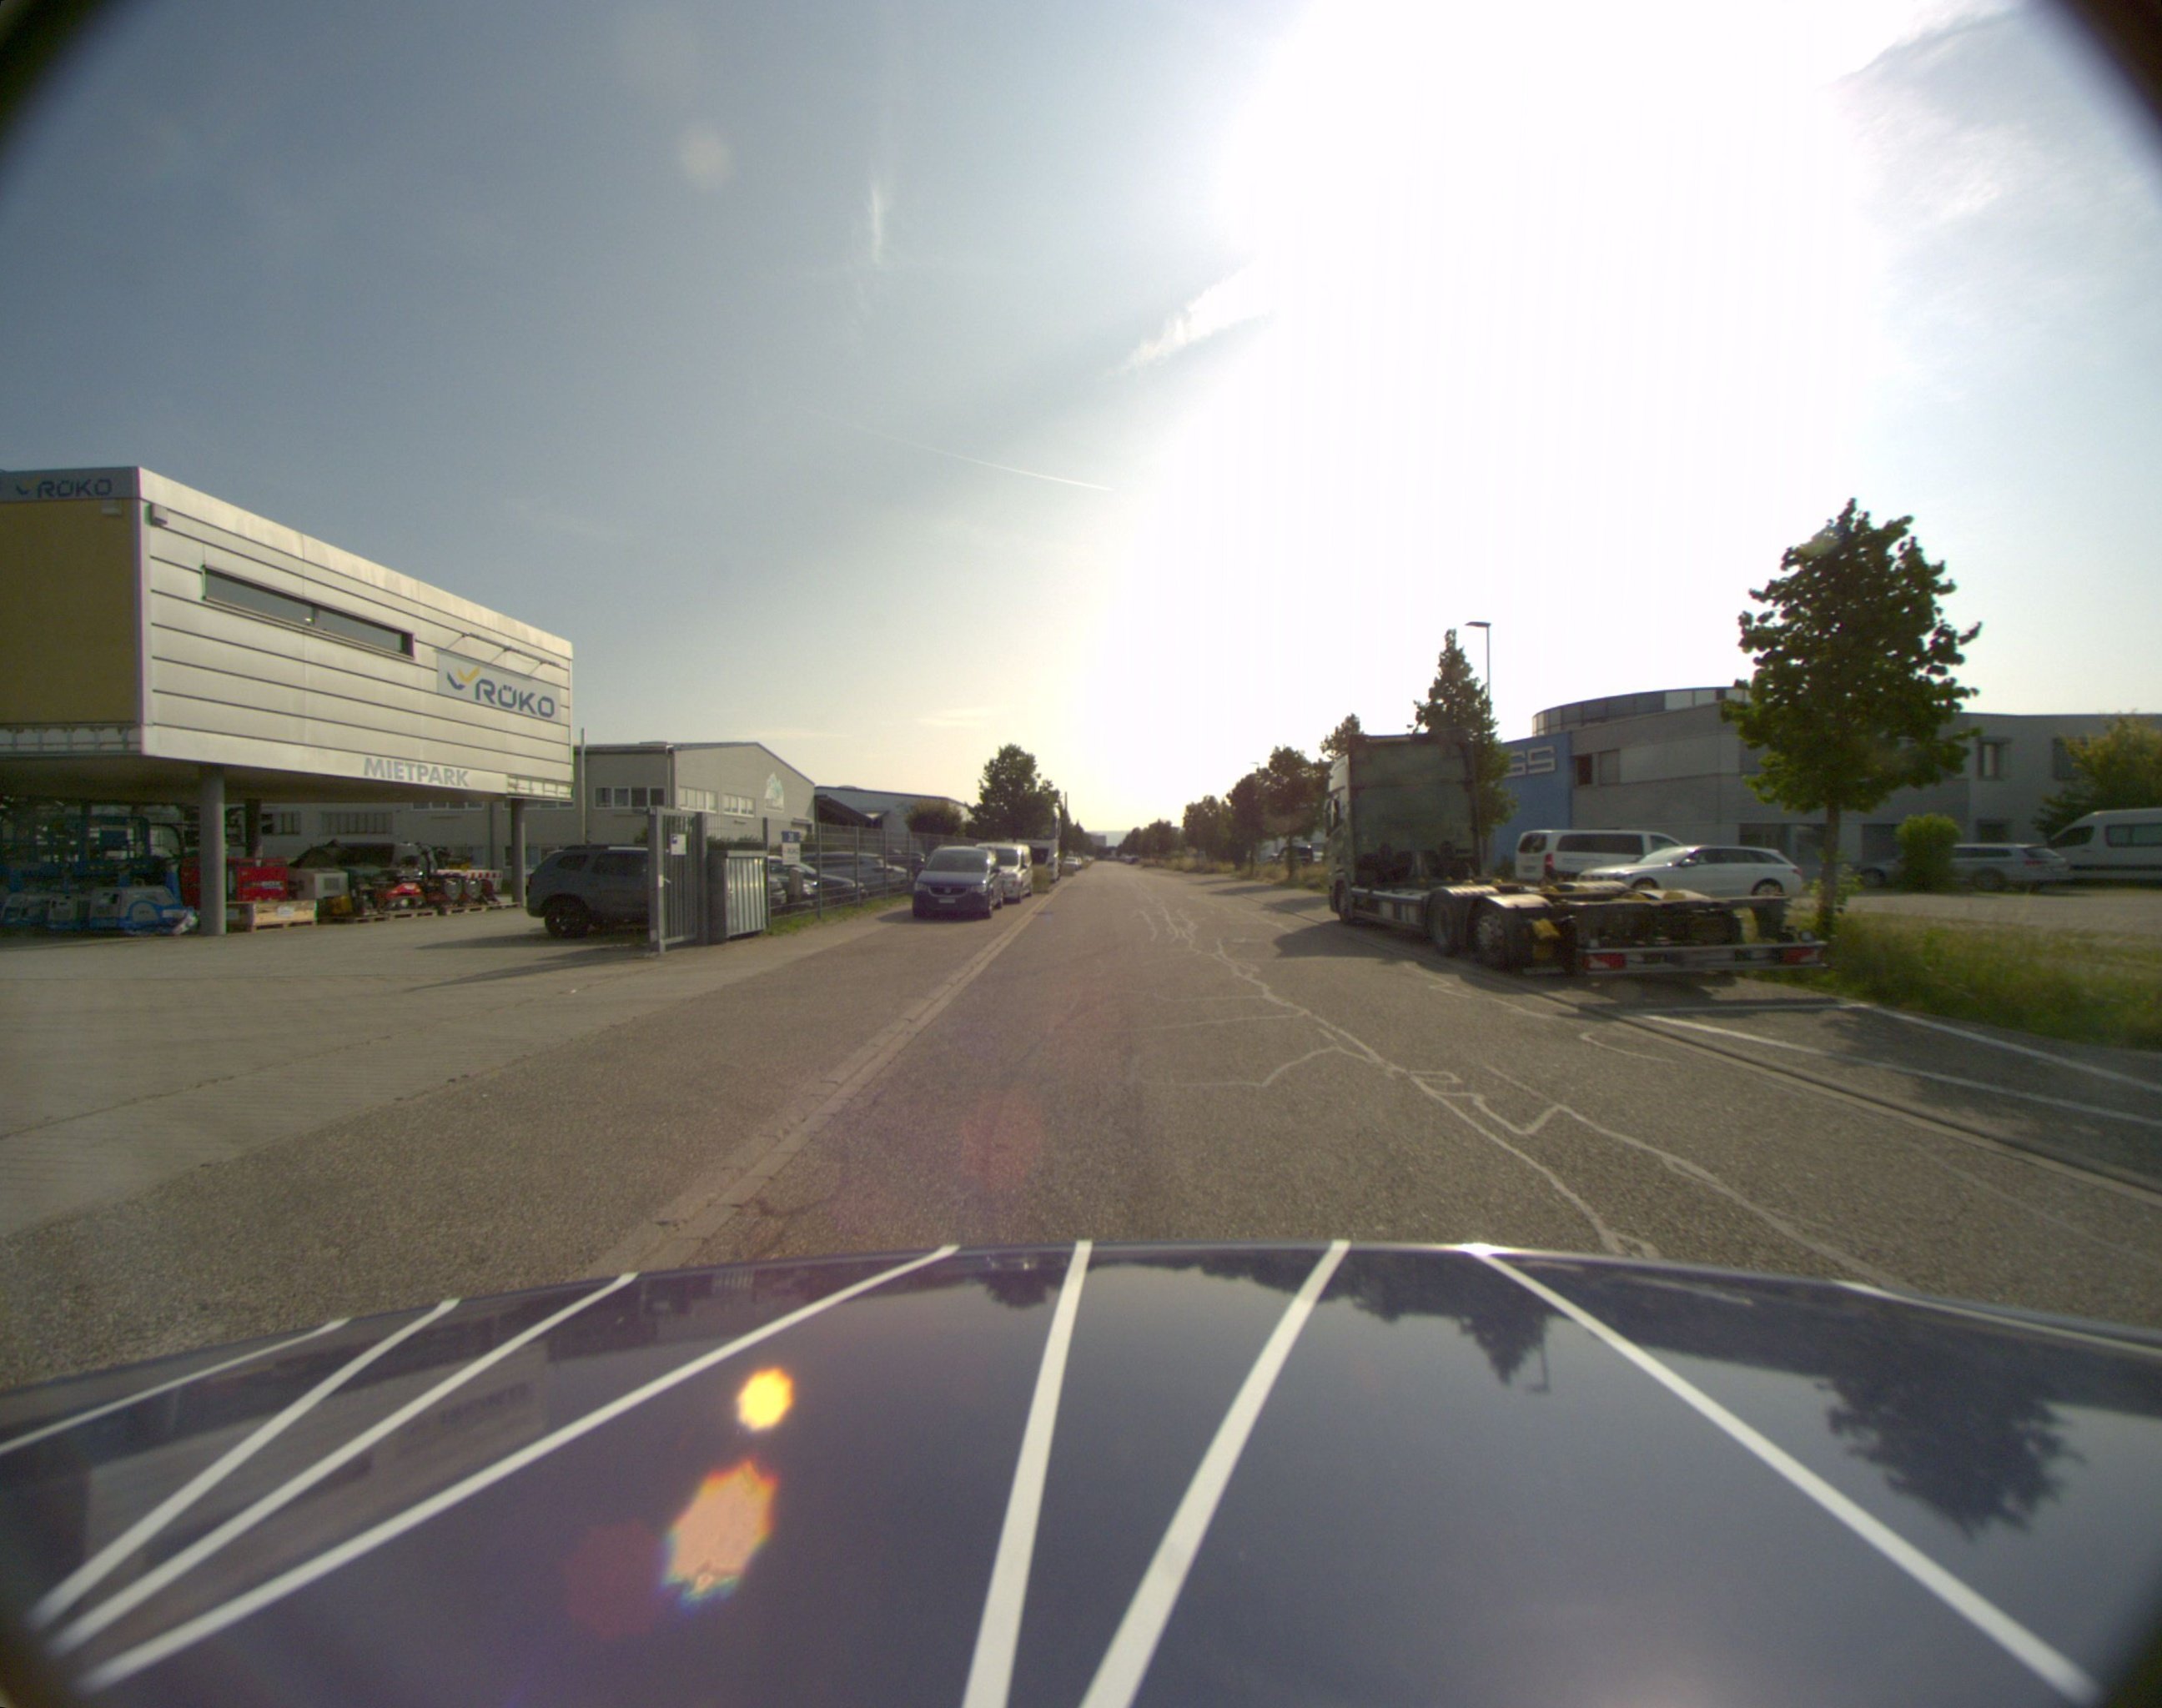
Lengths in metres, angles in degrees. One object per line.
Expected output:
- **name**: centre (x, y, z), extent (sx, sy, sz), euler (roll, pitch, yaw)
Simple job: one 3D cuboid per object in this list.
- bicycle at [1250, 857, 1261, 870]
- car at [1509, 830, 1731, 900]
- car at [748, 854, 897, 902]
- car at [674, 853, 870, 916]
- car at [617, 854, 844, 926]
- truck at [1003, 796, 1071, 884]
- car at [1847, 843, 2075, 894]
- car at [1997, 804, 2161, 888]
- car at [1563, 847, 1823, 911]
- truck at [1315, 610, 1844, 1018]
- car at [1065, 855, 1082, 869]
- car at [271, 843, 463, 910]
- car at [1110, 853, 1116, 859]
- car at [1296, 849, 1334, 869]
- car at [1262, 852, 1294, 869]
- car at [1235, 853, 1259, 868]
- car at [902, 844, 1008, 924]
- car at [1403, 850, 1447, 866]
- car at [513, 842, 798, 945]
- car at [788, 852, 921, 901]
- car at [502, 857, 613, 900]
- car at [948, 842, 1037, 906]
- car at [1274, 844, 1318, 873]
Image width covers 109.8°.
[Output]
- **bicycle**: centre (12.923, 0.711, 56.314), extent (0.541, 0.973, 1.871), euler (-1, 0, 6)
- **car**: centre (14.935, 0.302, 21.290), extent (4.715, 1.825, 2.103), euler (0, 0, 2)
- **car**: centre (-7.847, 0.704, 23.367), extent (3.998, 1.363, 1.790), euler (0, 0, -3)
- **car**: centre (-7.785, 0.761, 19.480), extent (4.236, 1.486, 1.899), euler (-1, 0, -2)
- **car**: centre (-7.775, 0.770, 17.196), extent (4.236, 1.486, 1.899), euler (-1, 0, -2)
- **truck**: centre (-2.088, -0.652, 39.870), extent (2.752, 3.991, 9.687), euler (1, 0, 1)
- **car**: centre (27.802, 0.387, 24.277), extent (1.580, 1.472, 4.518), euler (-1, 1, -14)
- **car**: centre (35.169, -0.283, 25.288), extent (1.712, 2.679, 5.743), euler (-1, 1, -15)
- **car**: centre (14.815, 0.581, 18.595), extent (4.738, 1.423, 2.000), euler (-1, 0, 1)
- **truck**: centre (6.342, -0.429, 12.268), extent (2.461, 3.859, 9.803), euler (-2, 1, 3)
- **car**: centre (-0.821, 0.845, 82.079), extent (1.668, 1.495, 3.541), euler (1, 0, 1)
- **car**: centre (-22.579, 0.708, 24.141), extent (4.366, 1.990, 1.896), euler (-1, 0, 3)
- **car**: centre (9.362, 0.634, 225.709), extent (1.668, 1.495, 3.540), euler (-1, 1, 1)
- **car**: centre (20.073, 0.421, 65.353), extent (1.947, 1.597, 4.509), euler (-1, 0, 1)
- **car**: centre (17.042, 0.530, 65.956), extent (1.790, 1.441, 3.918), euler (-1, 0, 0)
- **car**: centre (17.060, 0.656, 78.306), extent (1.758, 1.401, 3.919), euler (-1, 0, 3)
- **car**: centre (-2.940, 0.630, 18.633), extent (1.830, 1.710, 4.248), euler (-1, 1, 1)
- **car**: centre (29.742, 0.345, 65.859), extent (1.736, 1.364, 4.382), euler (-1, 0, -2)
- **car**: centre (-7.811, 0.685, 14.326), extent (4.237, 1.727, 1.898), euler (-1, 0, -6)
- **car**: centre (-7.677, 0.728, 26.028), extent (3.998, 1.469, 1.790), euler (-2, 0, -3)
- **car**: centre (-22.320, 1.003, 32.642), extent (1.894, 1.681, 4.369), euler (-1, 0, -3)
- **car**: centre (-2.637, 0.530, 23.716), extent (1.998, 1.779, 4.600), euler (-1, 1, 3)
- **car**: centre (15.606, 0.352, 55.436), extent (1.886, 2.002, 4.992), euler (0, 0, 2)
